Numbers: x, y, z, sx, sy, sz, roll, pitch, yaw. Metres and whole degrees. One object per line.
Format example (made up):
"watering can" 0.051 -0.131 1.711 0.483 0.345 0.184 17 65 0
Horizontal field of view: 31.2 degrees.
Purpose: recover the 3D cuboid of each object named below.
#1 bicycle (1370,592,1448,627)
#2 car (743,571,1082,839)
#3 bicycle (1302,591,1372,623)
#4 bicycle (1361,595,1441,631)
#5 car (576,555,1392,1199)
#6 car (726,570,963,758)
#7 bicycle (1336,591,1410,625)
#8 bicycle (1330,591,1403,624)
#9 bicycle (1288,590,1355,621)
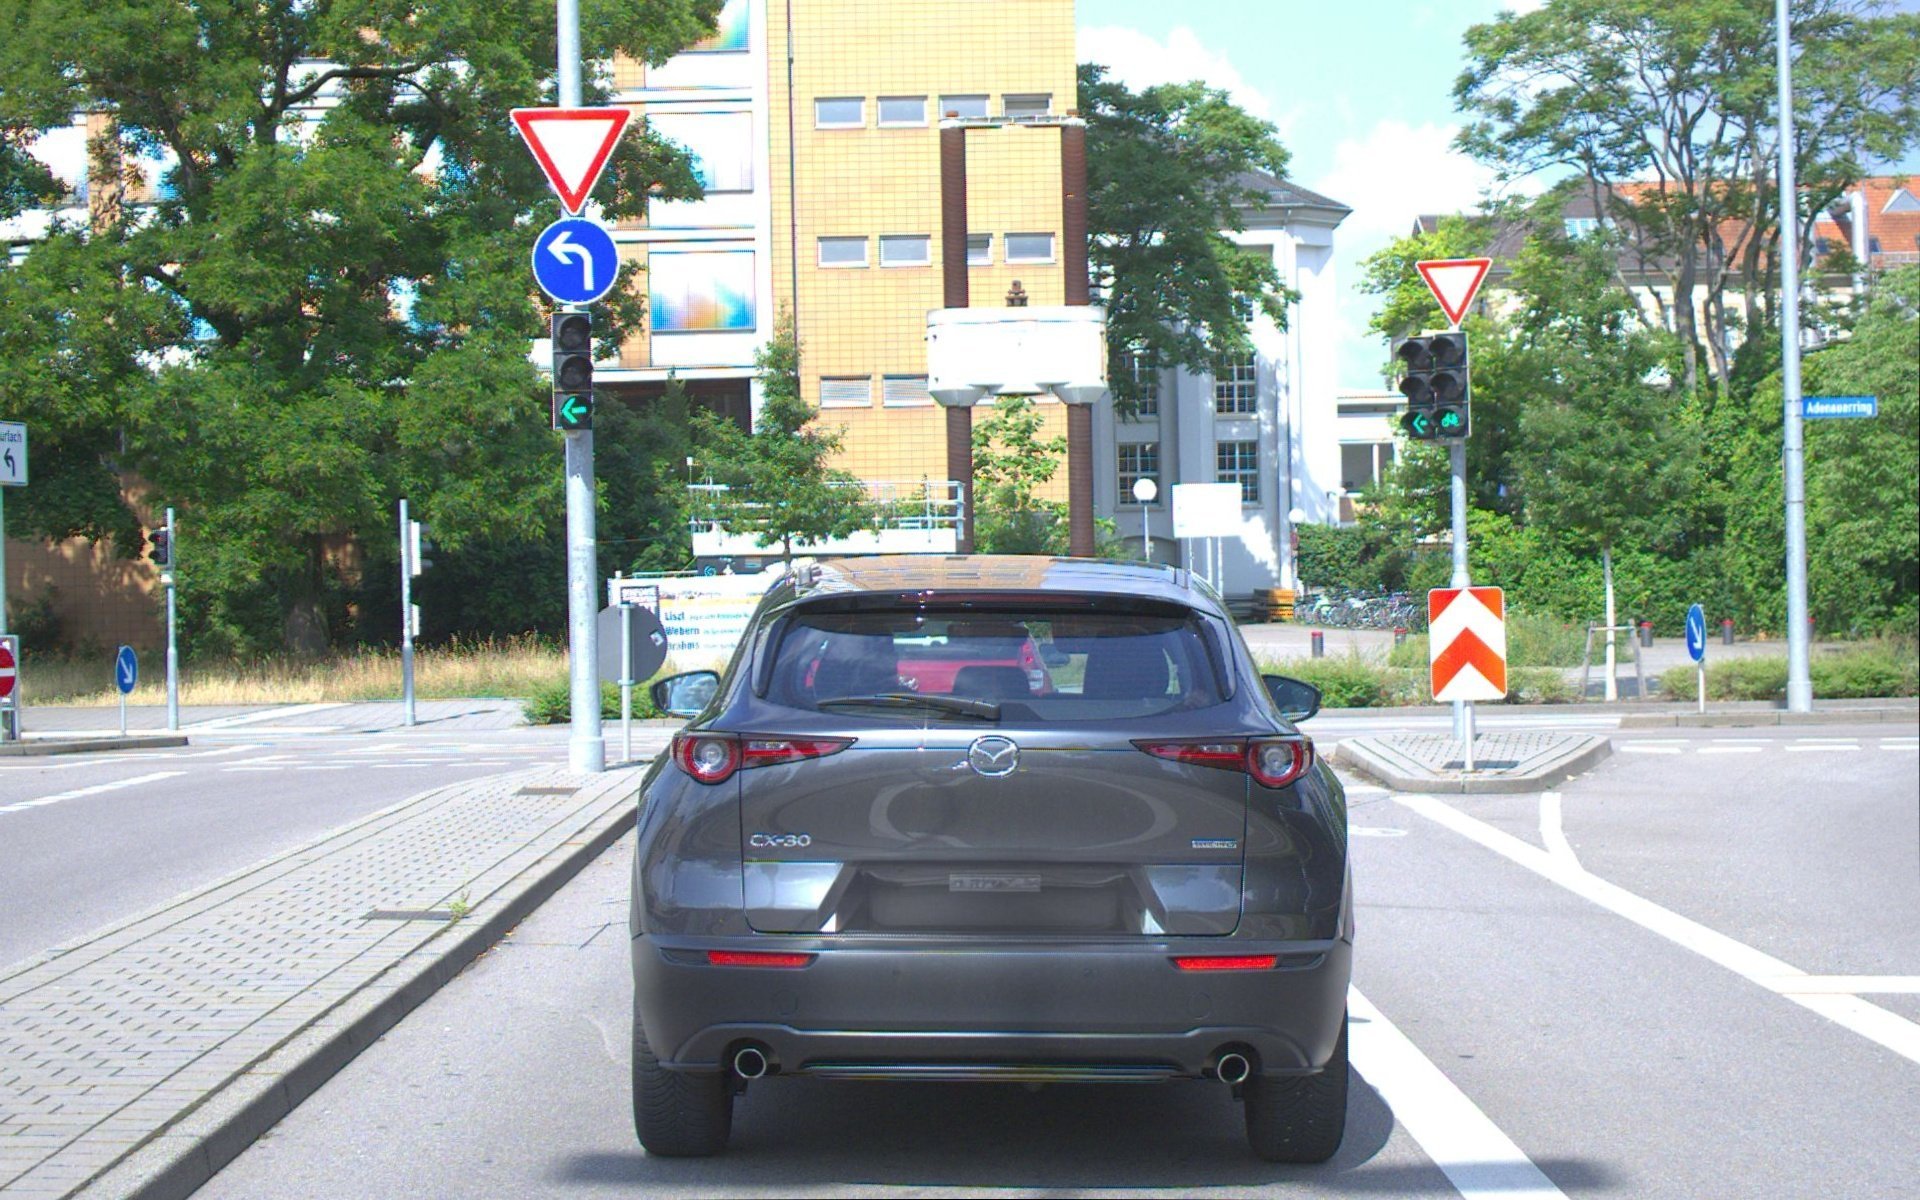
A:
"bicycle" 12.632 0.266 96.646 2.055 0.933 0.804 -1 0 -1
"car" -0.187 0.569 20.697 1.816 1.434 4.067 1 0 2
"bicycle" 11.624 0.207 106.098 2.055 0.933 0.804 -1 0 -1
"bicycle" 12.047 0.363 93.906 2.055 0.933 0.804 -1 0 -1
"car" 0.023 0.654 9.849 1.806 1.503 4.205 1 0 -1
"car" -0.931 0.505 29.882 1.848 1.467 4.335 -1 0 0
"bicycle" 12.170 0.237 101.356 2.055 0.933 0.804 -1 0 -1
"bicycle" 12.090 0.230 102.361 2.055 0.933 0.804 -1 0 -1
"bicycle" 11.668 0.185 110.958 2.055 0.933 0.804 -1 0 -1
